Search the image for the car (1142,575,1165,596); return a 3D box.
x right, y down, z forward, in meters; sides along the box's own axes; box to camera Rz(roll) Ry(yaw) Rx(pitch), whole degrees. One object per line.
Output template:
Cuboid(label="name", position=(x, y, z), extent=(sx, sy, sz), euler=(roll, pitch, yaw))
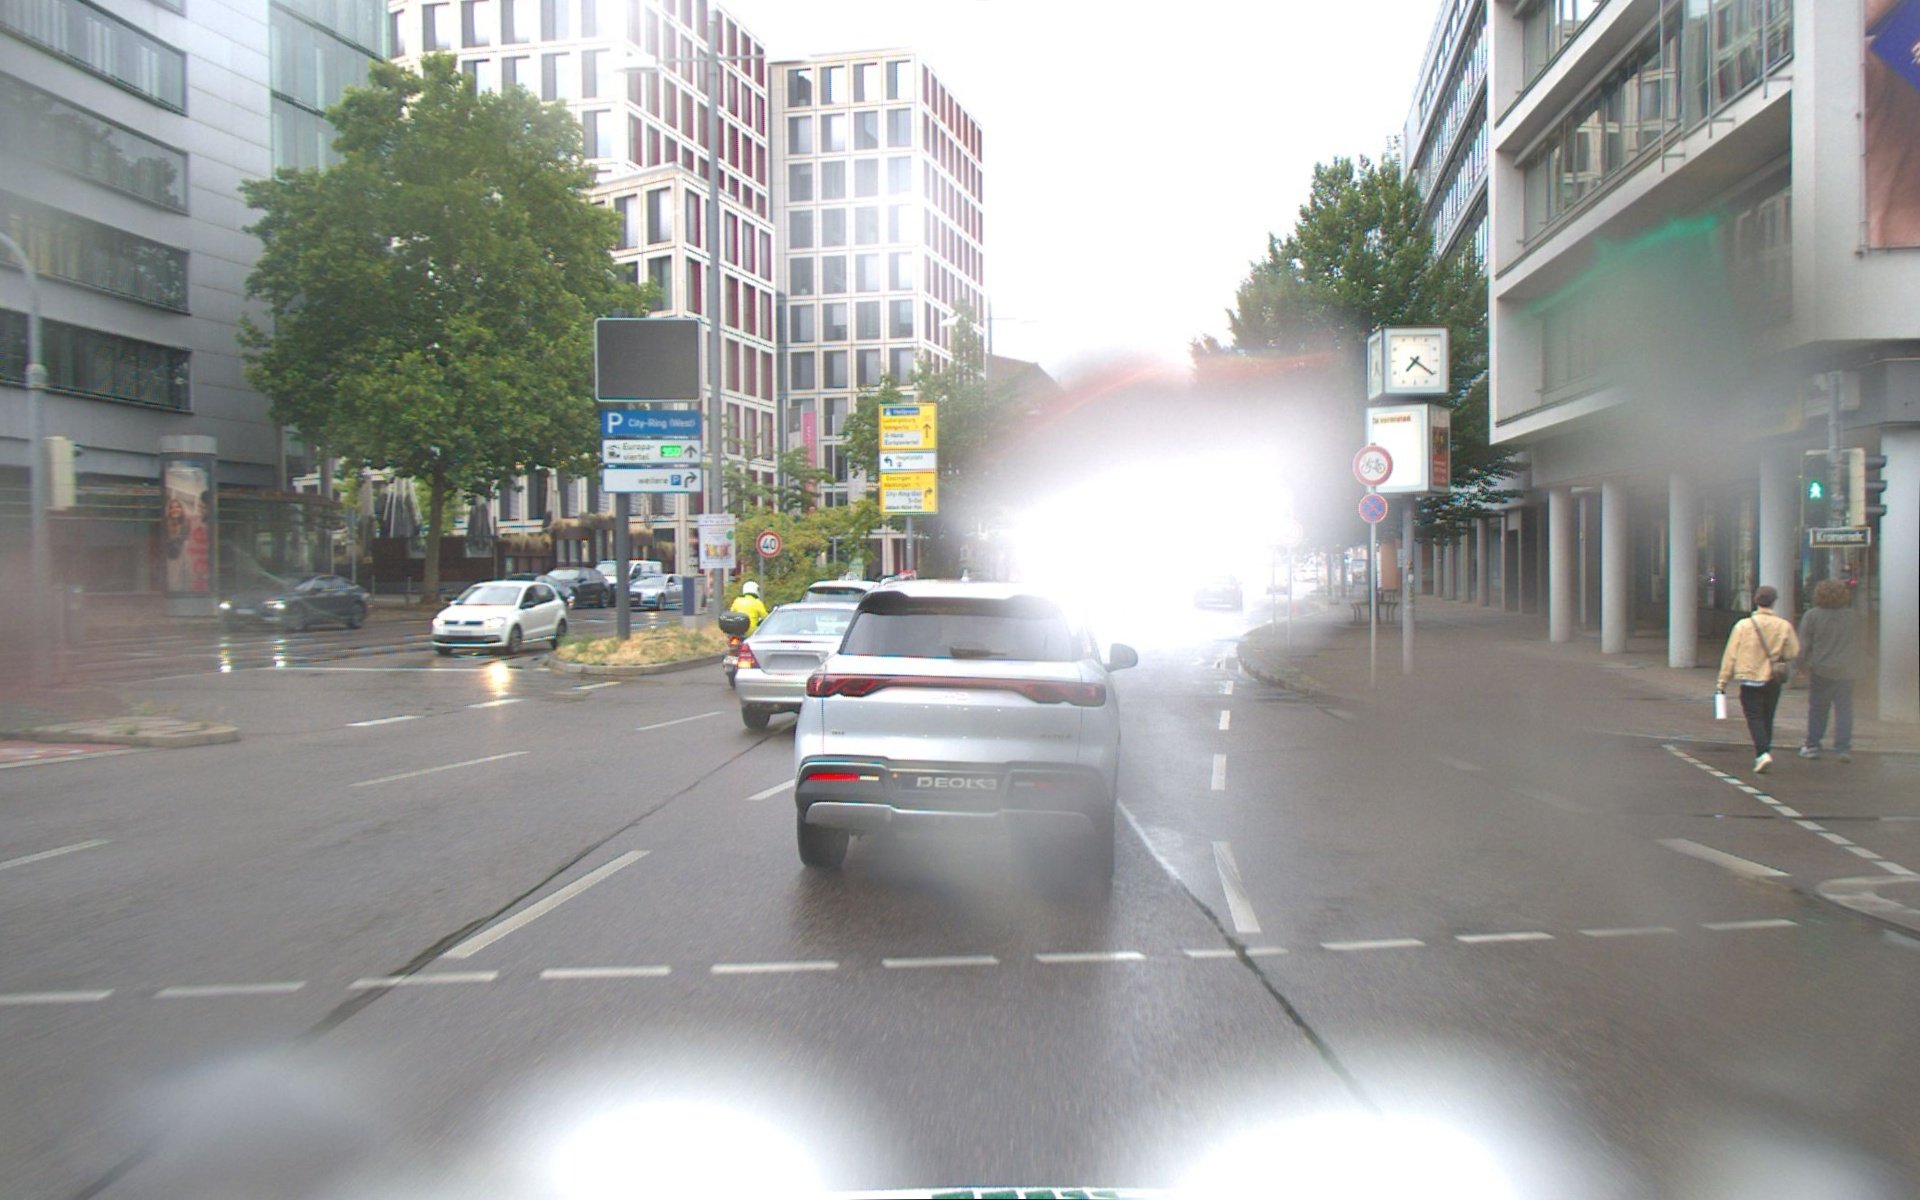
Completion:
Cuboid(label="car", position=(16.276, -1.222, 139.271), extent=(1.847, 1.672, 4.003), euler=(0, 0, 7))

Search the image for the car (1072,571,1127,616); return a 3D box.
Cuboid(label="car", position=(5.026, -0.196, 59.220), extent=(1.537, 1.512, 4.003), euler=(0, -1, 11))

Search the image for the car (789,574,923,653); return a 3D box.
Cuboid(label="car", position=(-2.078, 0.297, 34.110), extent=(1.670, 1.512, 4.003), euler=(0, -1, 13))

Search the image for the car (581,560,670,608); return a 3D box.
Cuboid(label="car", position=(-14.564, -0.699, 72.310), extent=(1.951, 2.046, 4.932), euler=(0, 1, 12))

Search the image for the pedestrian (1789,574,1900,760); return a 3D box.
Cuboid(label="pedestrian", position=(8.921, 0.655, 16.712), extent=(0.733, 1.829, 0.817), euler=(0, 0, 5))

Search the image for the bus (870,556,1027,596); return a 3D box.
Cuboid(label="bus", position=(-1.260, -2.615, 181.961), extent=(16.601, 4.134, 4.441), euler=(1, -1, 12))

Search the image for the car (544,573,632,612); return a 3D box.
Cuboid(label="car", position=(-14.924, -0.331, 66.561), extent=(1.951, 1.514, 4.004), euler=(0, 1, 12))

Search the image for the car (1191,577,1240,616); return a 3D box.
Cuboid(label="car", position=(10.595, -0.108, 68.437), extent=(1.657, 1.512, 4.003), euler=(0, -1, 14))

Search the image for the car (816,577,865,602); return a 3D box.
Cuboid(label="car", position=(-7.368, -0.689, 102.455), extent=(1.951, 1.514, 4.004), euler=(0, 1, 12))

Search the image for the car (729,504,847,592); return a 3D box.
Cuboid(label="car", position=(-4.412, -1.292, 43.197), extent=(1.951, 2.049, 4.852), euler=(1, -1, 8))

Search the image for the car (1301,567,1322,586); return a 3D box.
Cuboid(label="car", position=(40.880, -2.704, 192.529), extent=(1.951, 2.049, 4.002), euler=(1, -1, 5))

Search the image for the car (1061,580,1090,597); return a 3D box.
Cuboid(label="car", position=(10.001, -1.005, 143.155), extent=(1.951, 1.512, 4.004), euler=(0, 1, 13))

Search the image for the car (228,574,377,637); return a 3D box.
Cuboid(label="car", position=(-17.410, 0.106, 44.044), extent=(1.597, 1.586, 4.597), euler=(0, 1, 8))

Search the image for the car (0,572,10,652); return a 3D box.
Cuboid(label="car", position=(-19.456, 0.255, 29.316), extent=(1.775, 1.536, 5.200), euler=(0, 1, 7))

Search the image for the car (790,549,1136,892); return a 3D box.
Cuboid(label="car", position=(0.194, 0.636, 10.370), extent=(1.738, 1.708, 4.002), euler=(1, -1, 5))

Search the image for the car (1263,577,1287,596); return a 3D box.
Cuboid(label="car", position=(26.761, -1.117, 140.390), extent=(1.657, 1.512, 4.003), euler=(0, -1, 15))

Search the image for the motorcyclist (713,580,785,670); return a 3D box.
Cuboid(label="motorcyclist", position=(-3.343, 0.396, 26.292), extent=(0.753, 1.404, 1.119), euler=(0, -1, 15))

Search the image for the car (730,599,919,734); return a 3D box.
Cuboid(label="car", position=(-1.518, 0.751, 19.883), extent=(1.537, 1.432, 4.111), euler=(1, -1, 5))

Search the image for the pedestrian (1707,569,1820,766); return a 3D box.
Cuboid(label="pedestrian", position=(7.647, 0.623, 15.773), extent=(0.733, 1.829, 0.817), euler=(0, 0, 5))

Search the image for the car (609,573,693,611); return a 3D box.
Cuboid(label="car", position=(-12.473, -0.342, 67.046), extent=(1.951, 1.514, 4.004), euler=(0, 1, 12))

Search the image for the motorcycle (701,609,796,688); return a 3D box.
Cuboid(label="motorcycle", position=(-3.337, 0.759, 26.247), extent=(0.783, 1.205, 2.030), euler=(1, -1, 14))

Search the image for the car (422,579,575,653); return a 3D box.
Cuboid(label="car", position=(-9.507, 0.287, 34.371), extent=(1.597, 1.462, 3.911), euler=(0, 1, 8))
